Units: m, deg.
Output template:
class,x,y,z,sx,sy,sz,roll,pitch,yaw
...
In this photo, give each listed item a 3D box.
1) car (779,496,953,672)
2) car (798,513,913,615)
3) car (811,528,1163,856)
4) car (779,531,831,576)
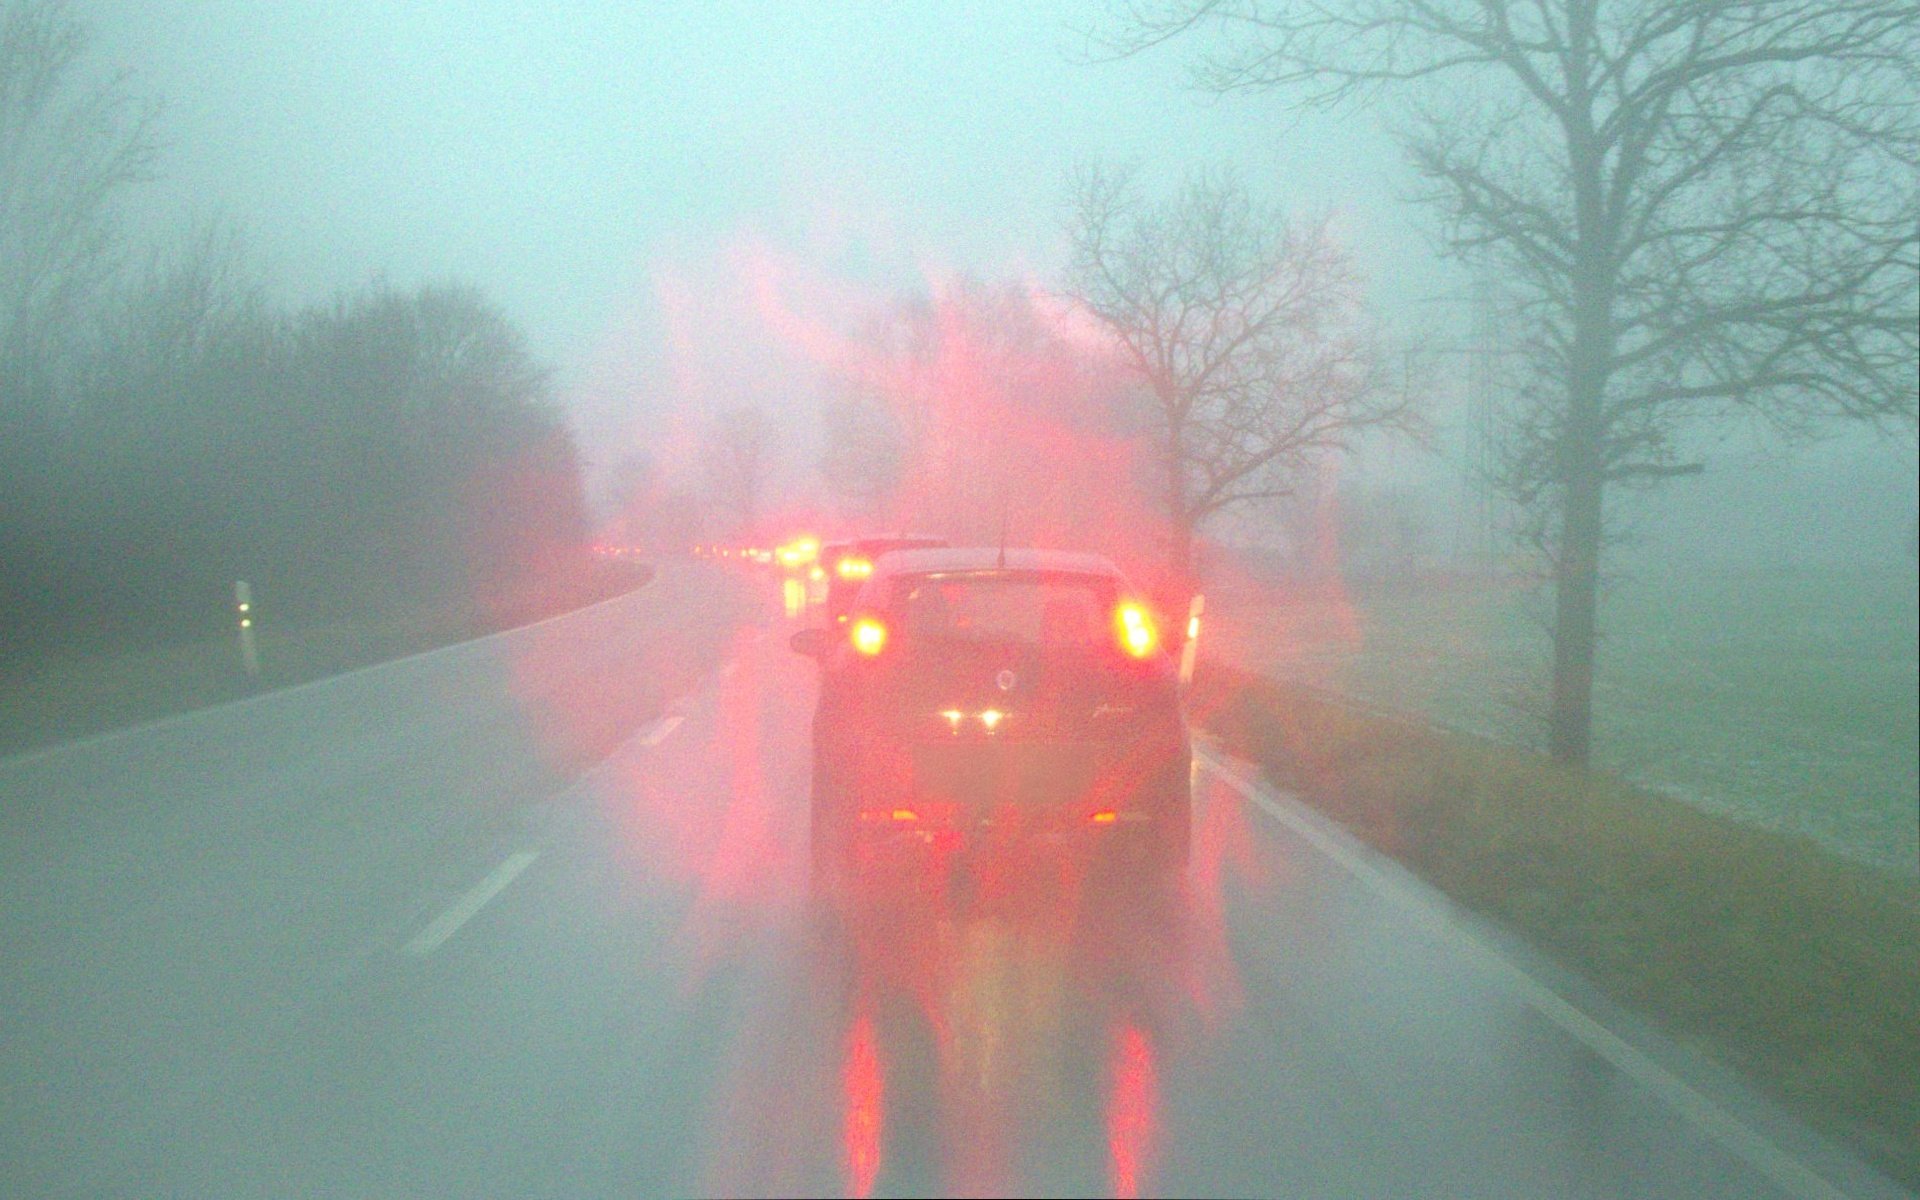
class,x,y,z,sx,sy,sz,roll,pitch,yaw
car,-1.093,-0.220,41.800,1.852,2.007,4.000,1,1,2
car,-1.794,-0.659,60.066,1.863,1.694,4.468,1,1,0
car,0.171,0.368,16.472,1.500,1.393,3.199,1,1,2
car,-6.110,-1.866,135.936,1.863,1.694,4.468,1,1,0
